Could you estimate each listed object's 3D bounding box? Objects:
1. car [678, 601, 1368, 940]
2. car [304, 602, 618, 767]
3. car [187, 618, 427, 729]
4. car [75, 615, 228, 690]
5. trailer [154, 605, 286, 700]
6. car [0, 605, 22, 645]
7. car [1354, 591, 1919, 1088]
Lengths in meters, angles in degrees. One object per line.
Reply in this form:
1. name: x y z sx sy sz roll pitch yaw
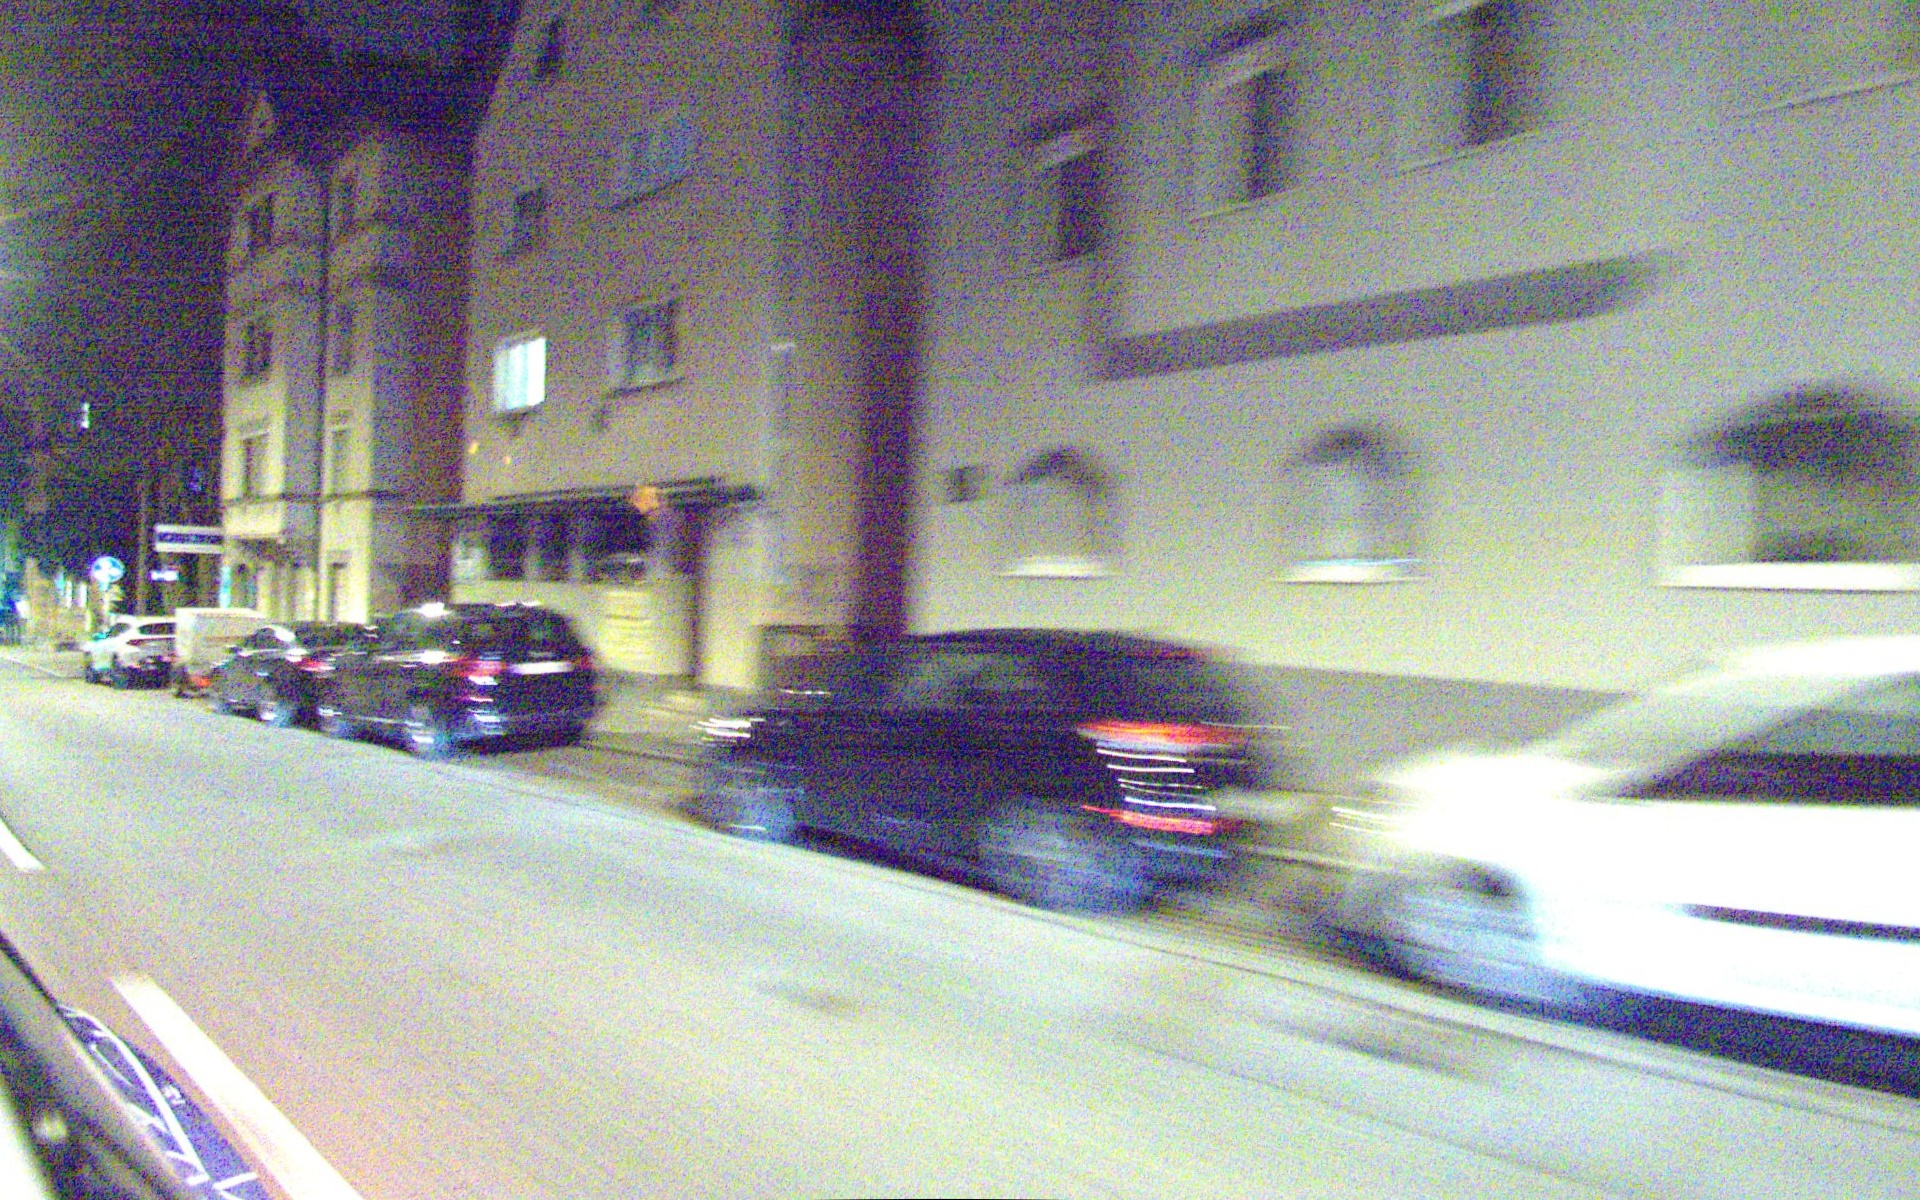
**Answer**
1. car: 0.187 0.767 6.628 4.277 1.503 1.845 0 0 40
2. car: -6.147 0.860 12.217 4.542 1.631 1.816 -1 -1 41
3. car: -10.102 1.019 15.532 4.540 1.458 1.816 -1 -2 40
4. car: -17.999 1.093 22.475 4.343 1.495 1.796 0 -1 39
5. trailer: -14.495 0.937 19.765 1.619 1.652 3.441 0 0 -45
6. car: -42.141 1.092 43.561 4.664 1.663 1.831 -1 -1 37
7. car: 3.569 0.725 3.556 3.778 1.503 1.605 0 0 40
